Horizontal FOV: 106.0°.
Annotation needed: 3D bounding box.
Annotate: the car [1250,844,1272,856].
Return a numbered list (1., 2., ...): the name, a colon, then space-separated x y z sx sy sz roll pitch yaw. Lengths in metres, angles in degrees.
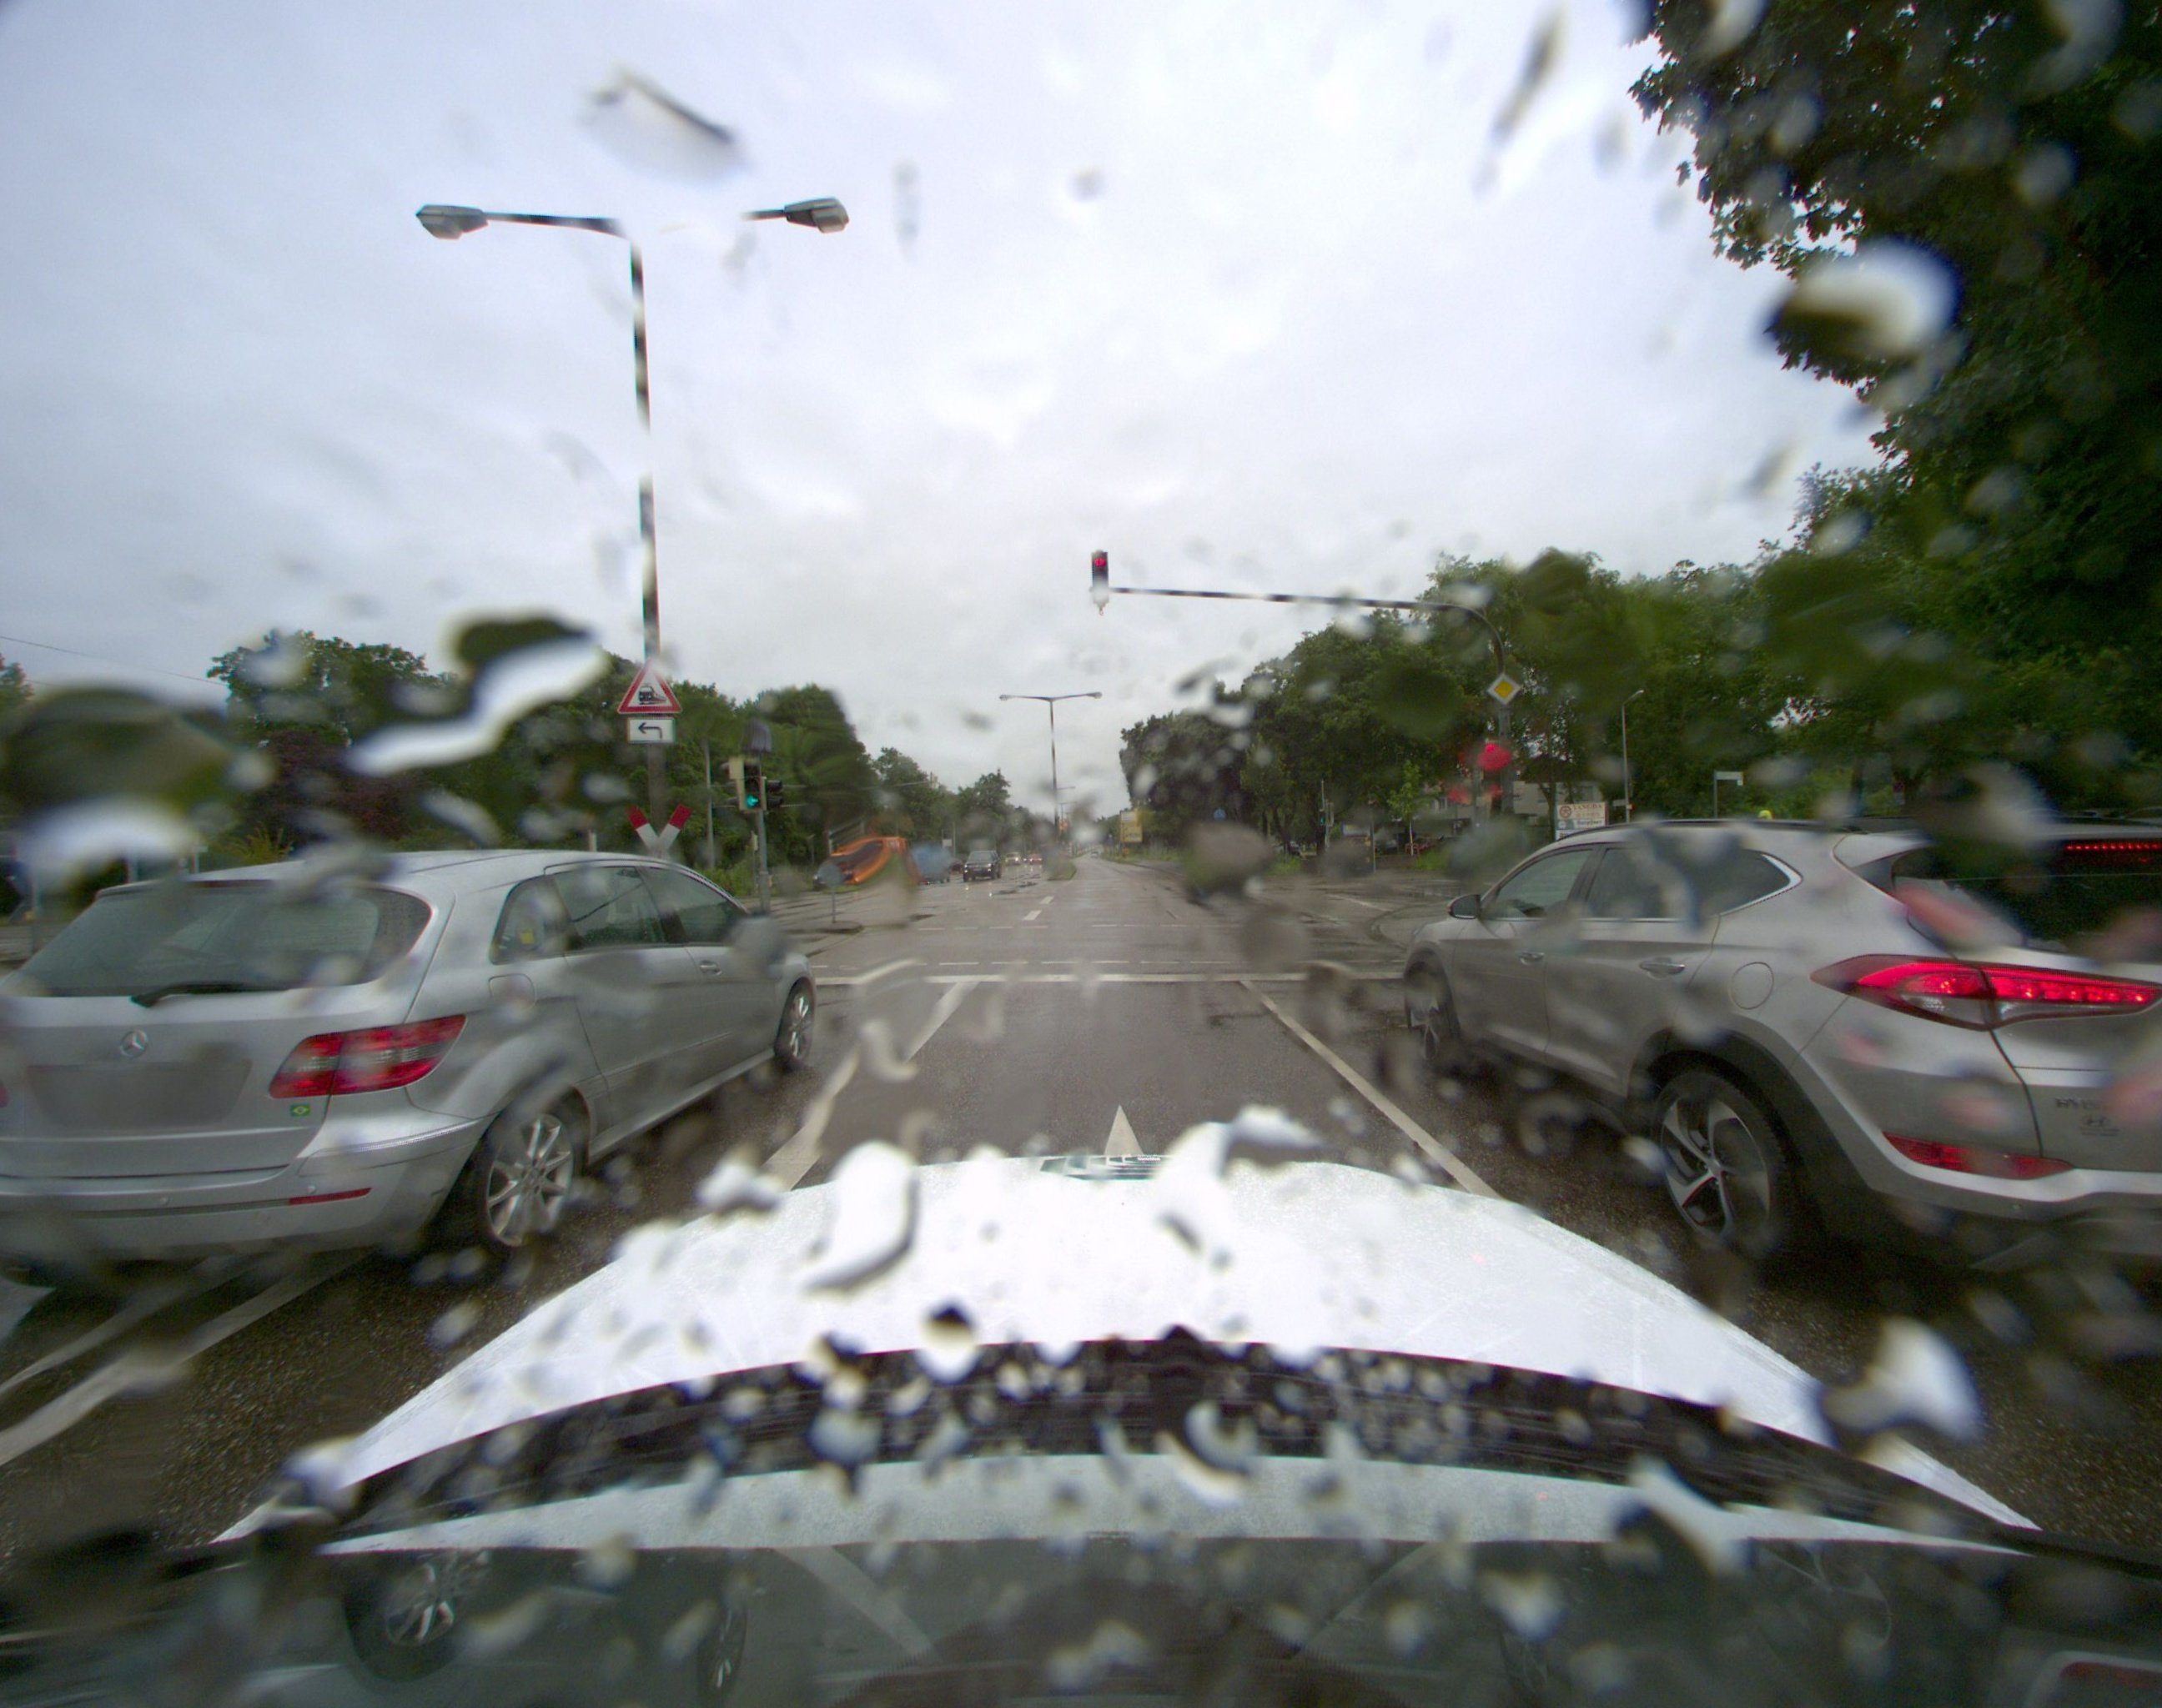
1. car: 21.763 -0.476 98.659 1.633 1.486 4.070 0 0 -1

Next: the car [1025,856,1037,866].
1. car: -8.774 1.279 144.137 1.701 1.641 4.332 -4 0 1

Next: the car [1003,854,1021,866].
1. car: -9.533 0.815 112.273 1.887 1.611 4.502 -2 0 1

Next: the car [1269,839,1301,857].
1. car: 21.247 -0.586 85.182 1.988 1.717 4.876 -3 0 -1

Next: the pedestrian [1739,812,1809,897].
1. pedestrian: 14.481 0.012 17.044 0.663 1.678 0.791 -6 0 7

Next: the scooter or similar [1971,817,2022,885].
1. scooter or similar: 16.230 -0.054 14.445 0.284 1.176 0.561 -2 0 8

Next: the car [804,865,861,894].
1. car: -15.462 1.547 50.952 1.986 1.709 4.528 0 0 2

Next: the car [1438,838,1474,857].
1. car: 28.898 -0.481 62.715 1.648 1.449 3.776 -1 -1 39

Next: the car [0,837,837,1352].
1. car: -2.882 0.744 4.511 1.730 1.544 4.014 -2 0 1

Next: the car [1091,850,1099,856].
1. car: 3.339 -0.243 193.887 1.900 1.515 4.001 -2 0 1

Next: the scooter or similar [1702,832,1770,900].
1. scooter or similar: 12.303 0.219 15.307 0.952 1.229 0.322 -2 0 5

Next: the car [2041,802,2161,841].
1. car: 45.345 -1.409 35.795 4.582 1.583 1.921 0 -1 -8

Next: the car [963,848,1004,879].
1. car: -6.089 0.574 51.418 1.799 1.773 5.089 -4 0 1

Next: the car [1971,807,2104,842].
1. car: 45.228 -1.391 38.565 4.582 1.583 1.921 0 -1 -8

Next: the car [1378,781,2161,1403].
1. car: 3.206 0.620 4.220 1.877 1.610 4.196 -1 0 1

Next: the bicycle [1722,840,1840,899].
1. bicycle: 14.616 0.316 17.037 1.650 1.038 0.791 -6 0 7

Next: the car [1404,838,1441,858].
1. car: 26.824 -0.459 63.869 1.648 1.449 3.776 -1 -1 39

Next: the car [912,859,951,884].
1. car: -9.233 1.056 50.549 1.636 1.427 3.998 -4 0 -1

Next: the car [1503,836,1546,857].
1. car: 32.161 -0.529 59.051 3.772 1.449 1.584 0 -1 -42

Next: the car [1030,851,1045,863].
1. car: -6.025 0.437 113.014 1.795 1.569 4.428 -4 -1 0

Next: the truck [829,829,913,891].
1. truck: -15.209 0.453 60.142 3.373 4.167 10.407 0 0 1

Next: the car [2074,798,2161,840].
1. car: 44.041 -1.415 33.272 4.570 1.630 1.926 0 -1 0
